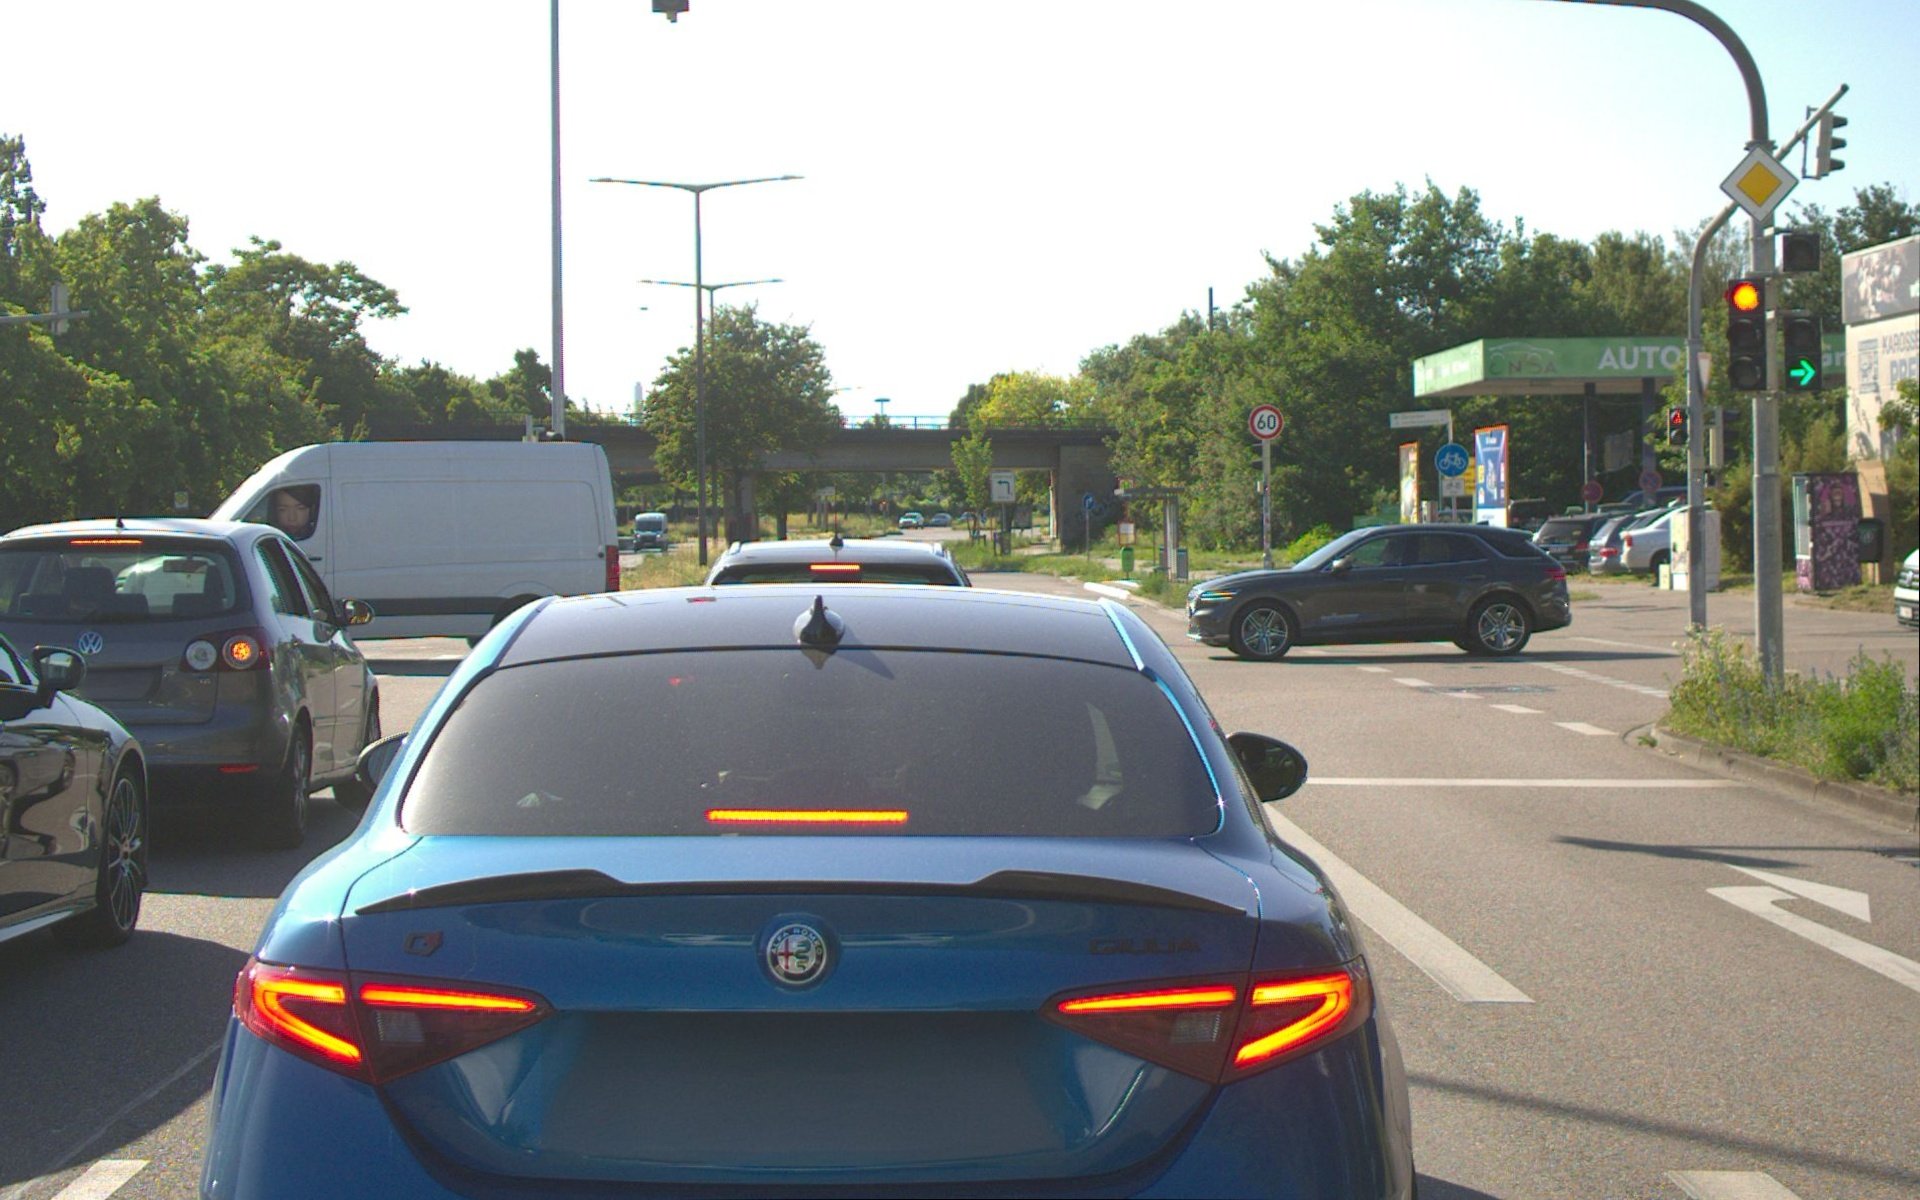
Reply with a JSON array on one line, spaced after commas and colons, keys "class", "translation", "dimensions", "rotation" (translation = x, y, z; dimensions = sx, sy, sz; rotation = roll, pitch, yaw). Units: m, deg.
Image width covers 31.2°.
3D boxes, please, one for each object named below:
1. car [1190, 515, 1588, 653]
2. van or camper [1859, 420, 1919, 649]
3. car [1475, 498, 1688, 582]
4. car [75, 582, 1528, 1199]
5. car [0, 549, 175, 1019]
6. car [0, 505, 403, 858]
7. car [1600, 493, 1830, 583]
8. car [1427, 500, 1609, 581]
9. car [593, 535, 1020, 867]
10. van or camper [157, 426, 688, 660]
[{"class": "car", "translation": [5.211, -0.214, 42.168], "dimensions": [4.598, 1.647, 2.000], "rotation": [0, 1, -1]}, {"class": "van or camper", "translation": [14.007, -0.760, 39.585], "dimensions": [6.731, 2.563, 2.185], "rotation": [0, 1, -1]}, {"class": "car", "translation": [12.821, -1.247, 70.947], "dimensions": [3.986, 1.700, 1.696], "rotation": [-1, 1, -19]}, {"class": "car", "translation": [-0.227, 0.693, 6.393], "dimensions": [1.866, 1.380, 3.932], "rotation": [0, 1, -1]}, {"class": "car", "translation": [-3.803, 0.567, 10.624], "dimensions": [1.768, 1.409, 4.461], "rotation": [0, 1, -1]}, {"class": "car", "translation": [-3.964, 0.327, 17.525], "dimensions": [1.648, 1.593, 3.932], "rotation": [0, 1, -1]}, {"class": "car", "translation": [14.512, -1.193, 66.092], "dimensions": [3.986, 1.700, 1.696], "rotation": [-1, 1, -16]}, {"class": "car", "translation": [12.020, -1.285, 74.138], "dimensions": [3.483, 1.700, 1.696], "rotation": [-1, 1, -16]}, {"class": "car", "translation": [-0.697, 0.408, 17.063], "dimensions": [1.866, 1.445, 3.932], "rotation": [0, 1, -1]}, {"class": "van or camper", "translation": [-6.364, -0.696, 40.746], "dimensions": [5.935, 2.641, 2.001], "rotation": [-1, 1, -20]}]
